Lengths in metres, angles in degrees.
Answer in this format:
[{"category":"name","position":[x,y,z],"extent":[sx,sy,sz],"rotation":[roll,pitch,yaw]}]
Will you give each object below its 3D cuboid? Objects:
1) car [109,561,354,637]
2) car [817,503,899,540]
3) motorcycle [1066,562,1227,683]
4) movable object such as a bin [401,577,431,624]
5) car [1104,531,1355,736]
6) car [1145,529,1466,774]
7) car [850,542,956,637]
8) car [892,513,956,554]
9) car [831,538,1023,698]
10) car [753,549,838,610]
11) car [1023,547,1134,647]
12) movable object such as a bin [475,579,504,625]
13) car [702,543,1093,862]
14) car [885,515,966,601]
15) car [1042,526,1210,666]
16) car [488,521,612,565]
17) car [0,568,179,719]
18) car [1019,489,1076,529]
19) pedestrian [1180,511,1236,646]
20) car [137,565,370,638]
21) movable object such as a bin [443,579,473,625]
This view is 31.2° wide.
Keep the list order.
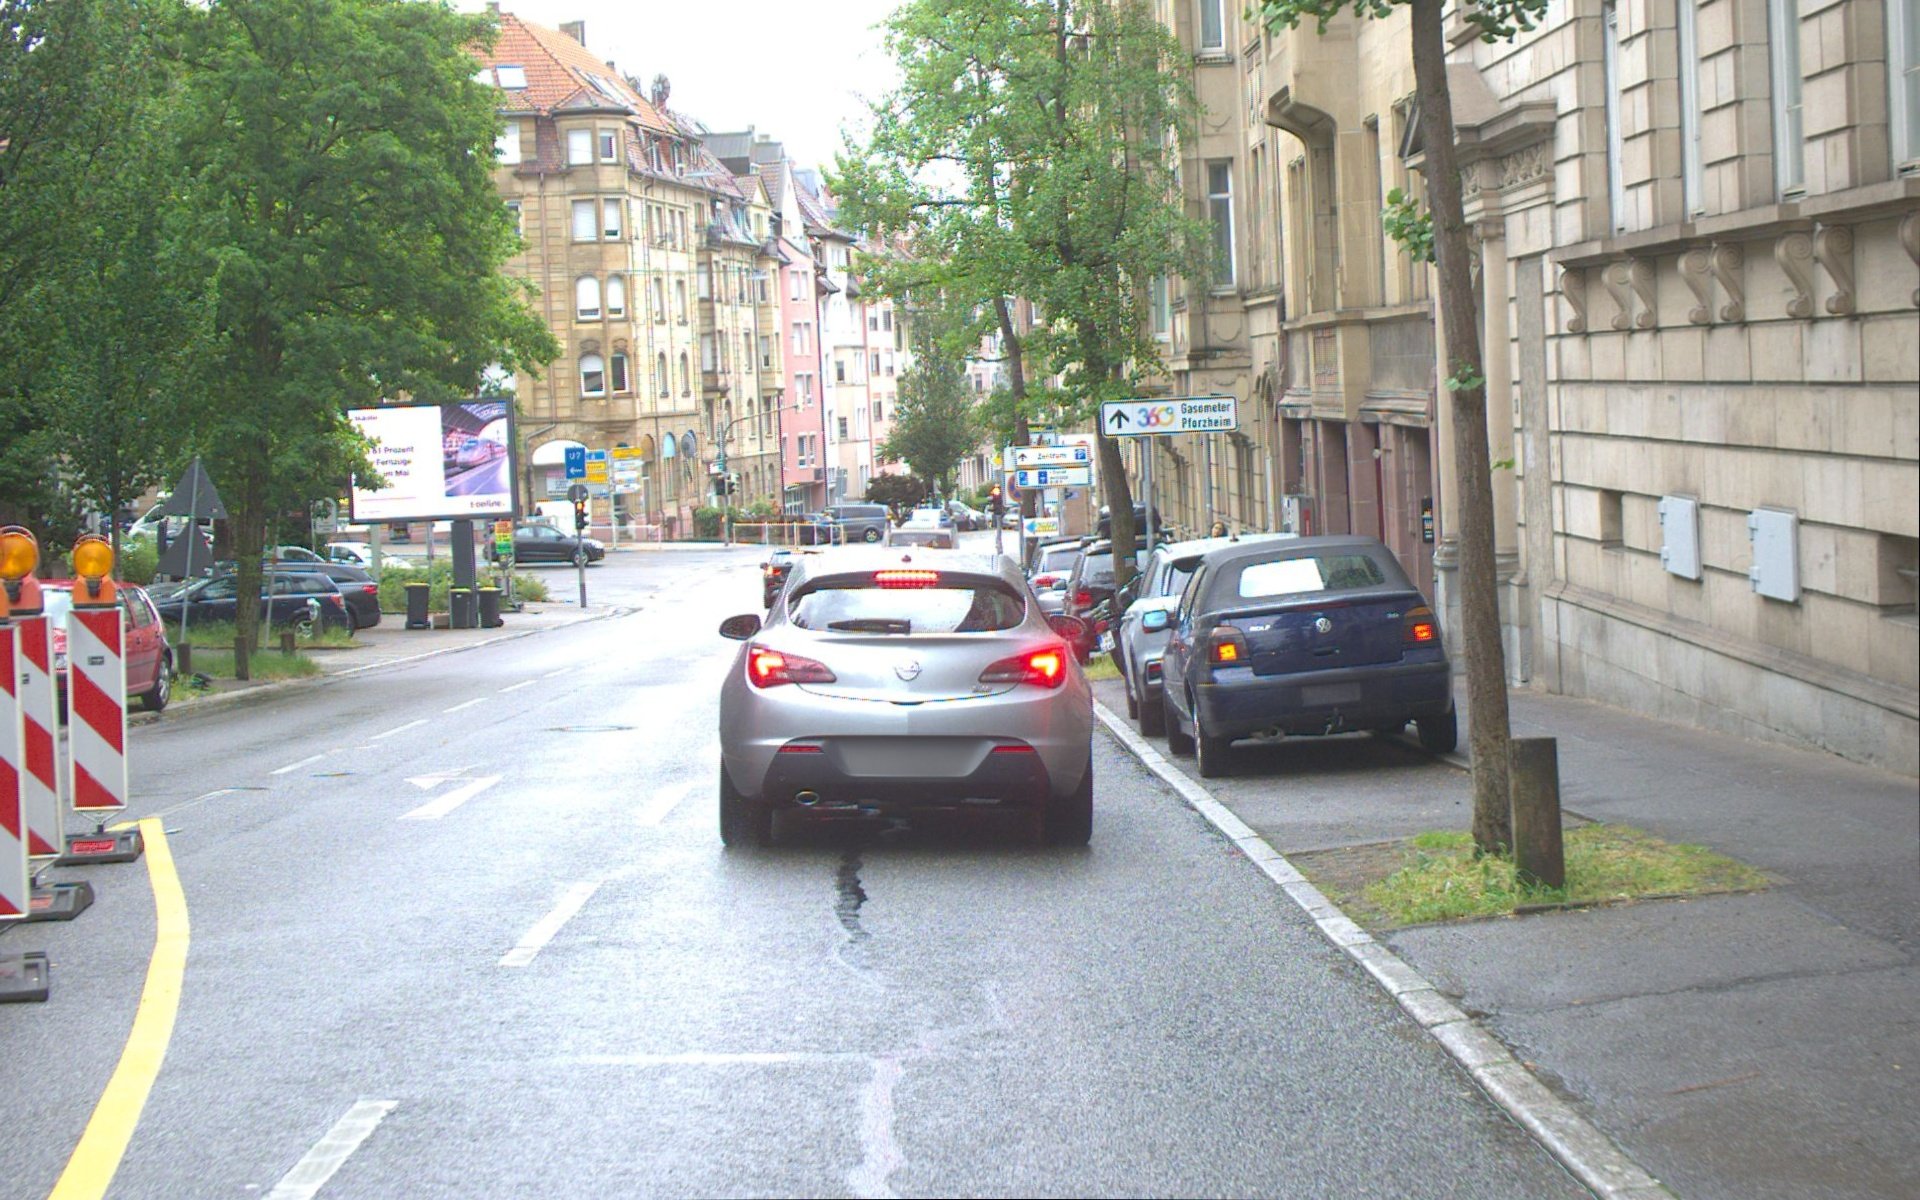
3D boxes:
[{"category":"car","position":[-13.795,-0.025,65.094],"extent":[4.308,1.239,1.643],"rotation":[-3,1,-19]},{"category":"car","position":[-5.063,-3.889,171.071],"extent":[3.987,1.744,2.000],"rotation":[1,0,-1]},{"category":"motorcycle","position":[1.966,0.229,36.034],"extent":[0.657,1.231,1.977],"rotation":[0,0,39]},{"category":"movable object such as a bin","position":[-12.555,0.014,79.330],"extent":[0.625,1.055,0.634],"rotation":[1,0,-6]},{"category":"car","position":[2.094,0.210,27.580],"extent":[1.637,1.464,3.858],"rotation":[-2,1,0]},{"category":"car","position":[2.181,0.277,22.467],"extent":[1.637,1.424,3.377],"rotation":[-2,1,-1]},{"category":"car","position":[-1.052,-0.204,61.649],"extent":[1.656,1.537,3.666],"rotation":[-4,1,-3]},{"category":"car","position":[-1.505,-2.817,146.064],"extent":[1.994,1.678,3.998],"rotation":[1,0,10]},{"category":"car","position":[-0.385,0.137,34.838],"extent":[1.772,1.499,3.870],"rotation":[-1,1,-3]},{"category":"car","position":[-4.217,-0.544,88.856],"extent":[1.993,1.495,4.000],"rotation":[-2,1,0]},{"category":"car","position":[1.943,-0.081,57.177],"extent":[1.637,1.519,3.858],"rotation":[-2,1,0]},{"category":"movable object such as a bin","position":[-10.997,0.040,80.366],"extent":[0.658,1.055,0.627],"rotation":[1,0,-9]},{"category":"car","position":[-0.344,0.447,17.980],"extent":[1.811,1.444,3.869],"rotation":[0,1,-2]},{"category":"car","position":[-0.731,-0.903,73.509],"extent":[1.656,1.776,3.665],"rotation":[-1,1,0]},{"category":"car","position":[2.004,-0.083,42.414],"extent":[1.637,1.597,3.858],"rotation":[-2,1,-3]},{"category":"car","position":[-14.769,-2.061,124.008],"extent":[4.227,1.579,1.940],"rotation":[0,1,-1]},{"category":"car","position":[-9.609,0.435,36.562],"extent":[1.637,1.434,4.080],"rotation":[-2,1,0]},{"category":"car","position":[3.985,-4.124,156.082],"extent":[1.994,1.678,3.998],"rotation":[1,0,10]},{"category":"pedestrian","position":[3.451,-0.297,47.885],"extent":[0.716,1.863,0.636],"rotation":[0,0,-1]},{"category":"car","position":[-13.997,0.011,68.087],"extent":[4.308,1.239,1.643],"rotation":[-3,1,-19]},{"category":"movable object such as a bin","position":[-11.573,0.043,79.266],"extent":[0.625,1.055,0.720],"rotation":[1,0,-6]}]
